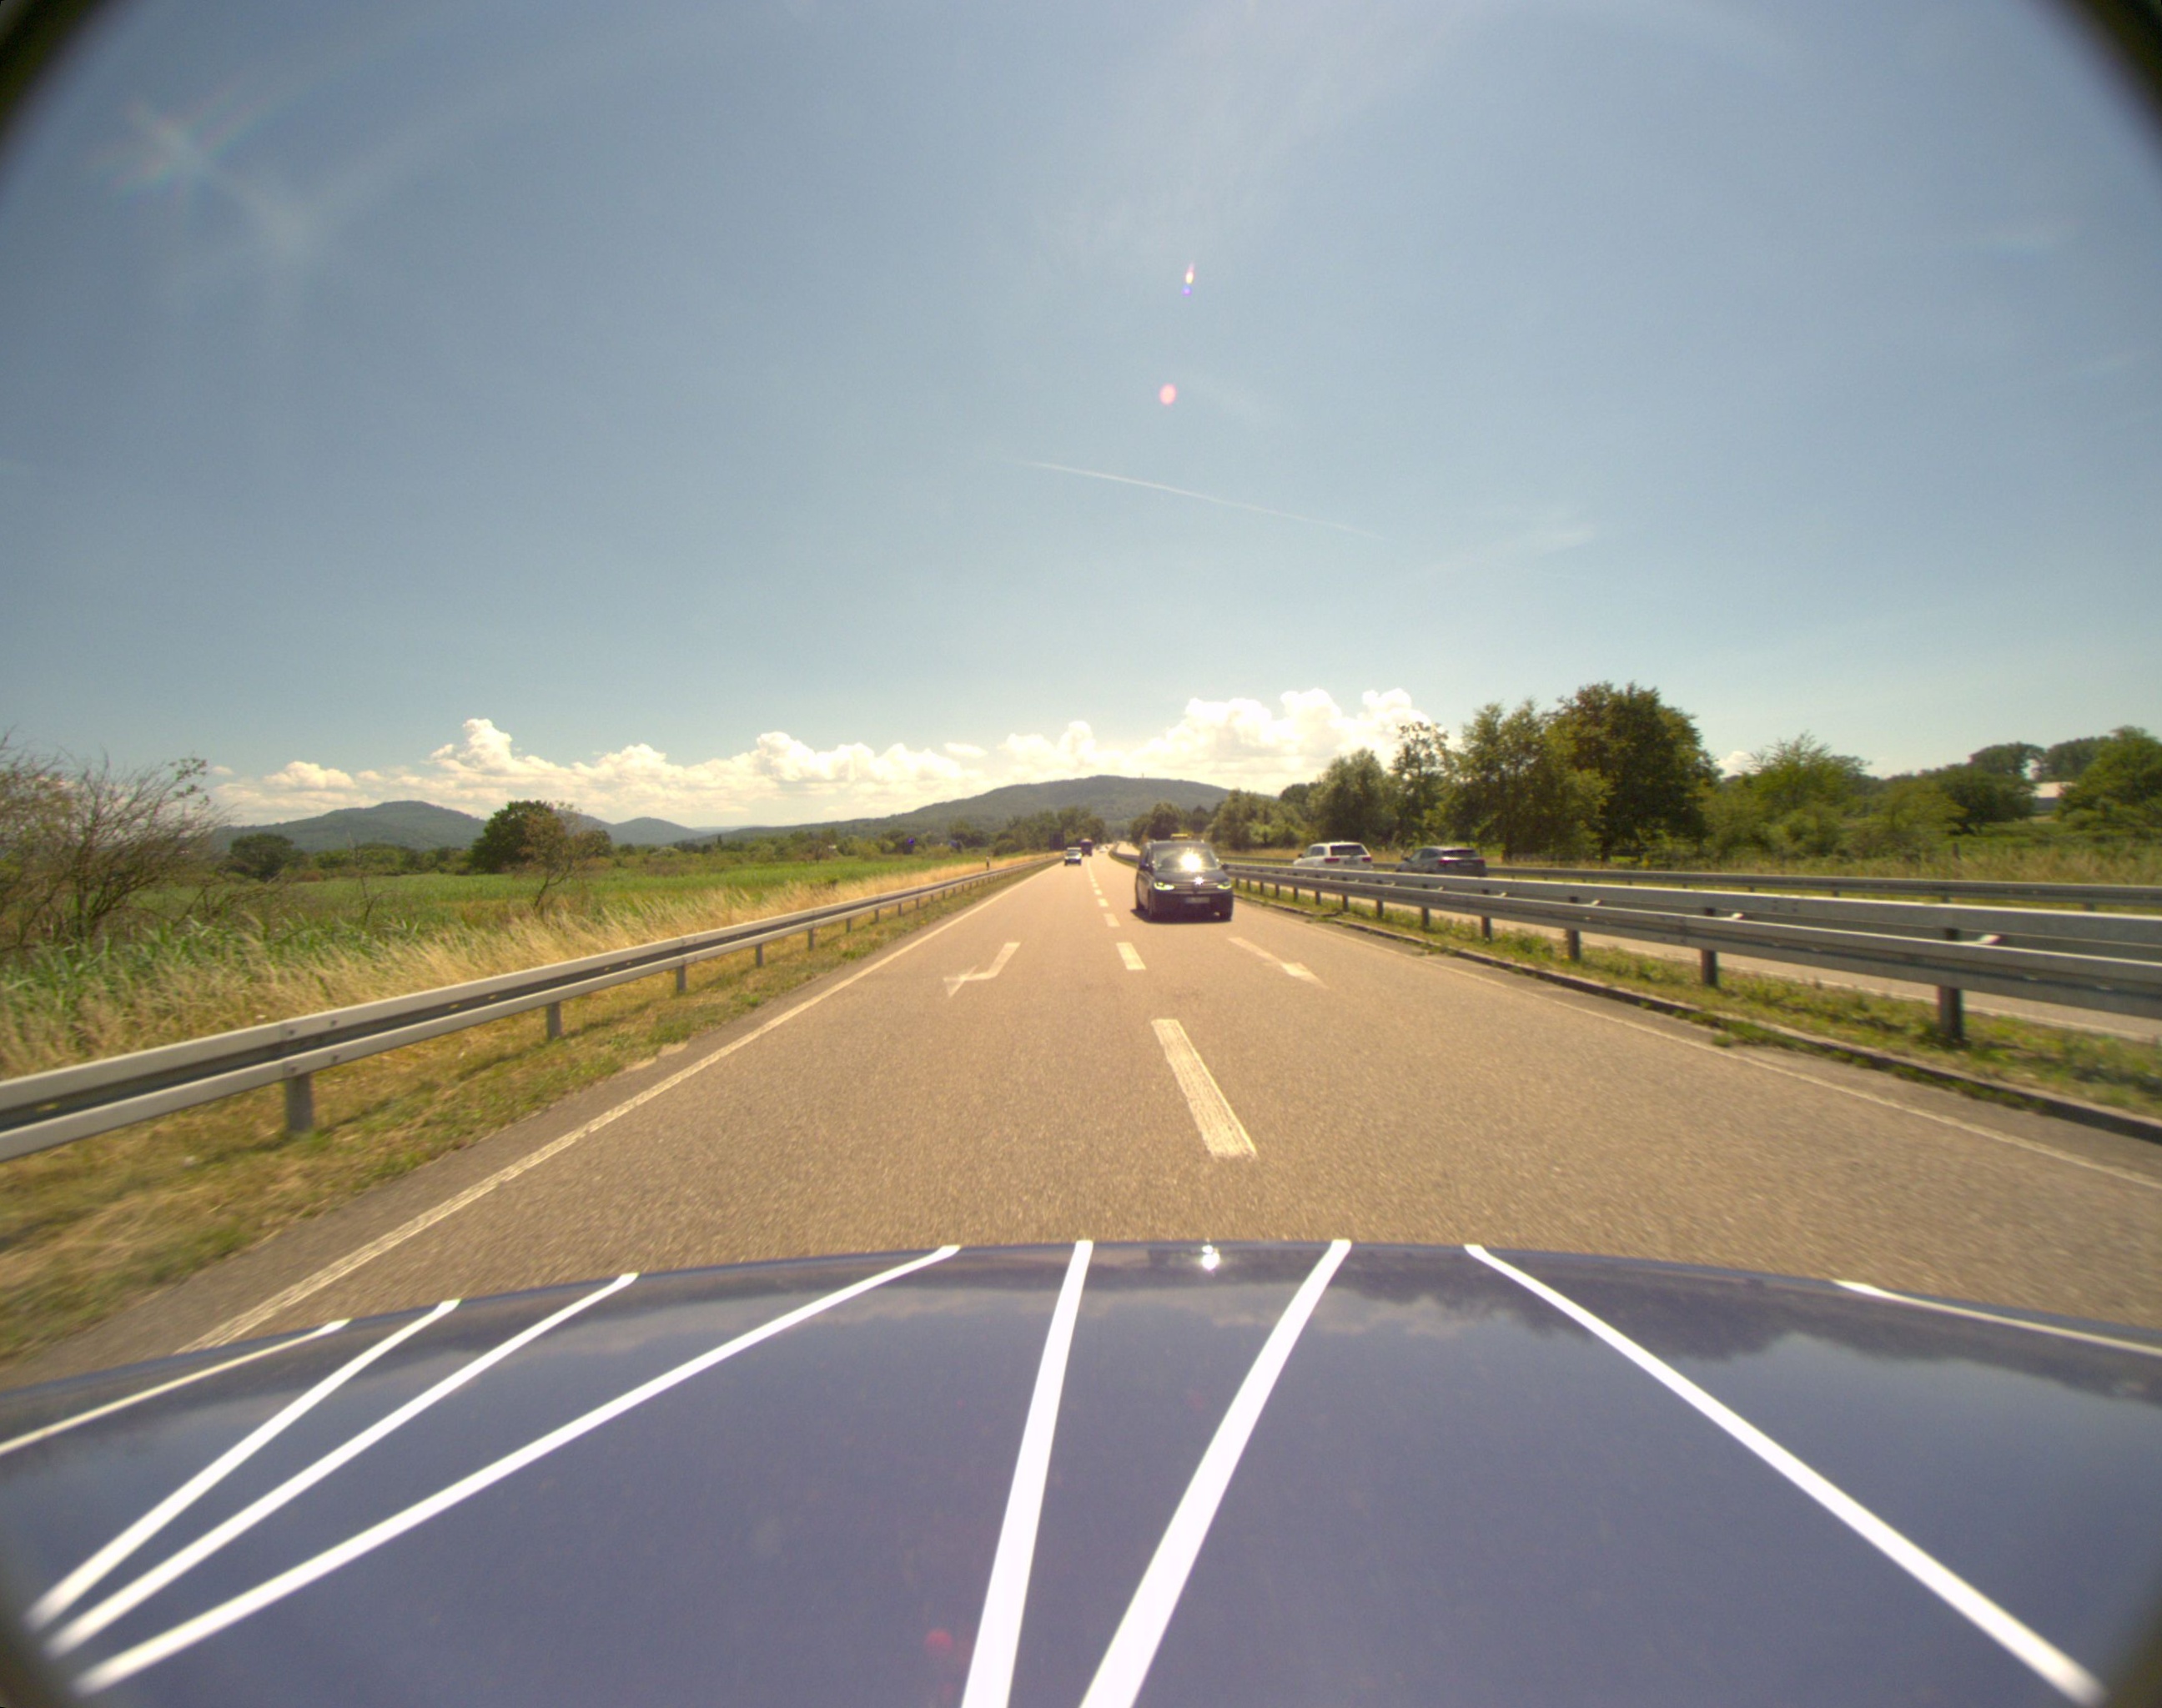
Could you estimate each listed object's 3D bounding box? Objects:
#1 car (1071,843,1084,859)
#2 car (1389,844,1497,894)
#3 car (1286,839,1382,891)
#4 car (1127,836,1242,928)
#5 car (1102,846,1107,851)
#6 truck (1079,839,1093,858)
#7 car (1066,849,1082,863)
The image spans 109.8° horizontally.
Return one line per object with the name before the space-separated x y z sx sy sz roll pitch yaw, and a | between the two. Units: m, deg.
car | -0.464 -0.385 102.303 1.619 2.086 3.485 -2 1 2
car | 12.785 0.483 27.161 1.847 1.608 4.170 -1 0 0
car | 9.580 0.383 29.281 1.985 1.797 4.968 -1 0 0
car | 2.334 0.571 18.635 1.859 1.876 5.572 -1 0 -2
car | 7.354 -1.678 240.732 1.619 1.545 3.485 -2 1 2
truck | 1.267 -1.354 172.534 2.827 4.143 9.948 -2 1 2
car | -0.744 0.226 82.980 1.577 1.387 3.485 -2 1 2
